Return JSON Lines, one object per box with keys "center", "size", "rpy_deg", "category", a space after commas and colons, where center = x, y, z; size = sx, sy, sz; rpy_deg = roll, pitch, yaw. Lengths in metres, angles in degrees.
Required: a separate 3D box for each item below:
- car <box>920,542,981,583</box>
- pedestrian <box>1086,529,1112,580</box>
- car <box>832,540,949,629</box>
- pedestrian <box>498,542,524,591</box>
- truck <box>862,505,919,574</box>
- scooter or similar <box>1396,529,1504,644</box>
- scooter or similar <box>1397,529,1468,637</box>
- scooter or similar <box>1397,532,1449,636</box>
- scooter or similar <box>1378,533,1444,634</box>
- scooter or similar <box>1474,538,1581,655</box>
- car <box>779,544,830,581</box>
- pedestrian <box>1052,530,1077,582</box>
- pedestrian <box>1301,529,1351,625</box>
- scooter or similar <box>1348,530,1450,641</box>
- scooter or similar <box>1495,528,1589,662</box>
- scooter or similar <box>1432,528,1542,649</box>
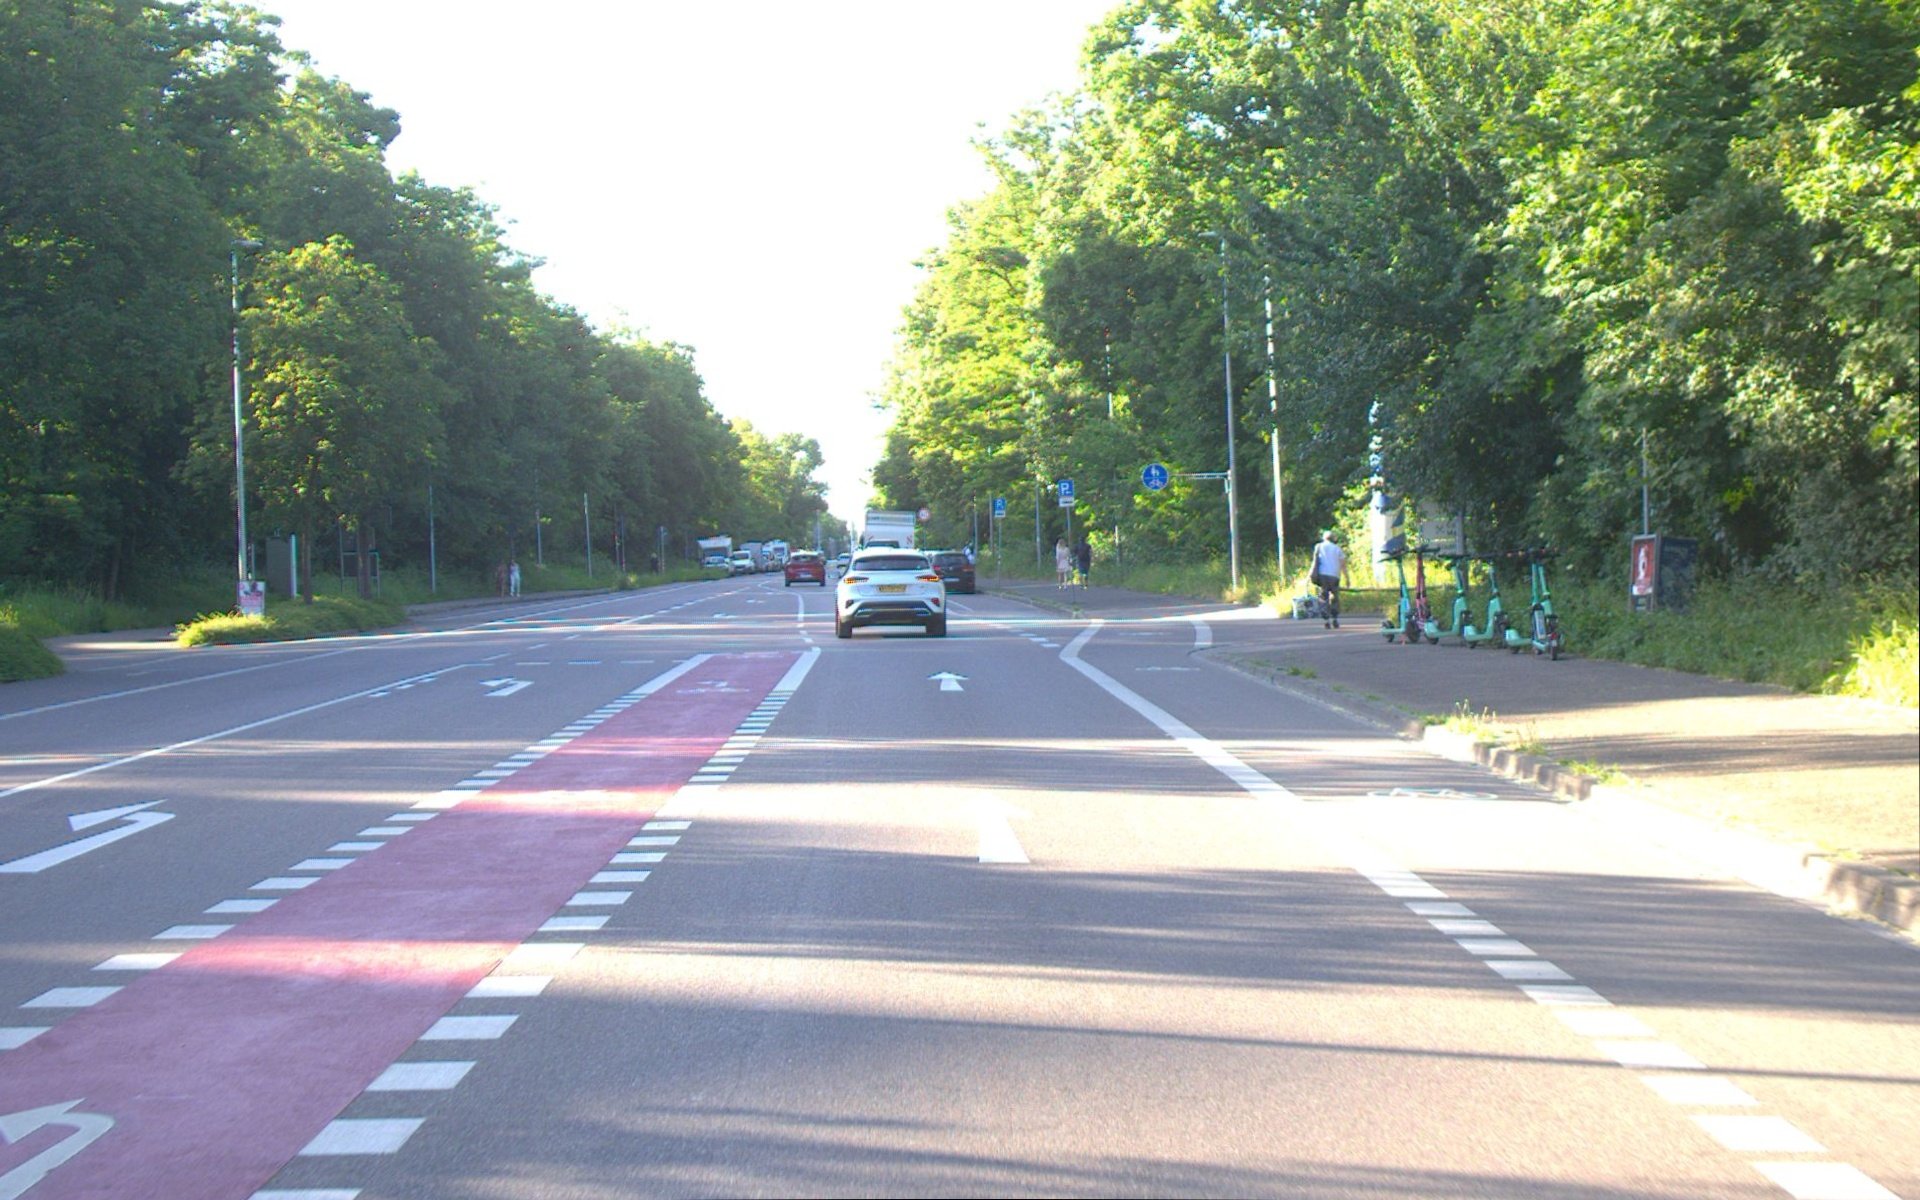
{"center": [-0.346, -1.325, 120.113], "size": [1.993, 1.322, 4.000], "rpy_deg": [-2, 1, -1], "category": "car"}
{"center": [4.484, -1.470, 110.981], "size": [0.743, 1.593, 0.798], "rpy_deg": [-2, 1, -1], "category": "pedestrian"}
{"center": [-1.212, -0.288, 58.500], "size": [1.761, 1.454, 3.818], "rpy_deg": [0, 1, -4], "category": "car"}
{"center": [-18.663, -1.382, 142.854], "size": [0.863, 2.007, 1.269], "rpy_deg": [-2, 1, 1], "category": "pedestrian"}
{"center": [-3.670, -3.160, 179.532], "size": [2.799, 3.558, 8.036], "rpy_deg": [0, 1, -2], "category": "truck"}
{"center": [6.226, -0.176, 43.752], "size": [0.682, 1.418, 1.682], "rpy_deg": [-2, 1, -16], "category": "scooter or similar"}
{"center": [6.417, -0.241, 46.744], "size": [0.682, 1.418, 1.682], "rpy_deg": [-2, 1, -1], "category": "scooter or similar"}
{"center": [6.498, -0.233, 48.258], "size": [0.682, 1.418, 1.245], "rpy_deg": [-1, 1, 8], "category": "scooter or similar"}
{"center": [6.520, -0.254, 49.797], "size": [0.682, 1.418, 1.682], "rpy_deg": [-2, 1, -1], "category": "scooter or similar"}
{"center": [6.524, -0.046, 39.586], "size": [0.465, 1.302, 1.481], "rpy_deg": [-2, 1, -23], "category": "scooter or similar"}
{"center": [-6.613, -1.609, 146.804], "size": [1.993, 1.514, 4.000], "rpy_deg": [-2, 1, 0], "category": "car"}
{"center": [3.372, -1.428, 110.973], "size": [0.698, 1.647, 0.876], "rpy_deg": [-2, 1, -1], "category": "pedestrian"}
{"center": [6.060, -0.379, 56.898], "size": [0.755, 1.558, 0.802], "rpy_deg": [-2, 1, 4], "category": "pedestrian"}
{"center": [5.793, -0.193, 45.429], "size": [0.682, 1.418, 1.682], "rpy_deg": [-2, 1, -16], "category": "scooter or similar"}
{"center": [6.375, -0.068, 37.730], "size": [0.682, 1.418, 1.682], "rpy_deg": [-2, 1, -1], "category": "scooter or similar"}
{"center": [6.378, -0.144, 41.681], "size": [0.682, 1.418, 1.682], "rpy_deg": [-2, 1, -14], "category": "scooter or similar"}
